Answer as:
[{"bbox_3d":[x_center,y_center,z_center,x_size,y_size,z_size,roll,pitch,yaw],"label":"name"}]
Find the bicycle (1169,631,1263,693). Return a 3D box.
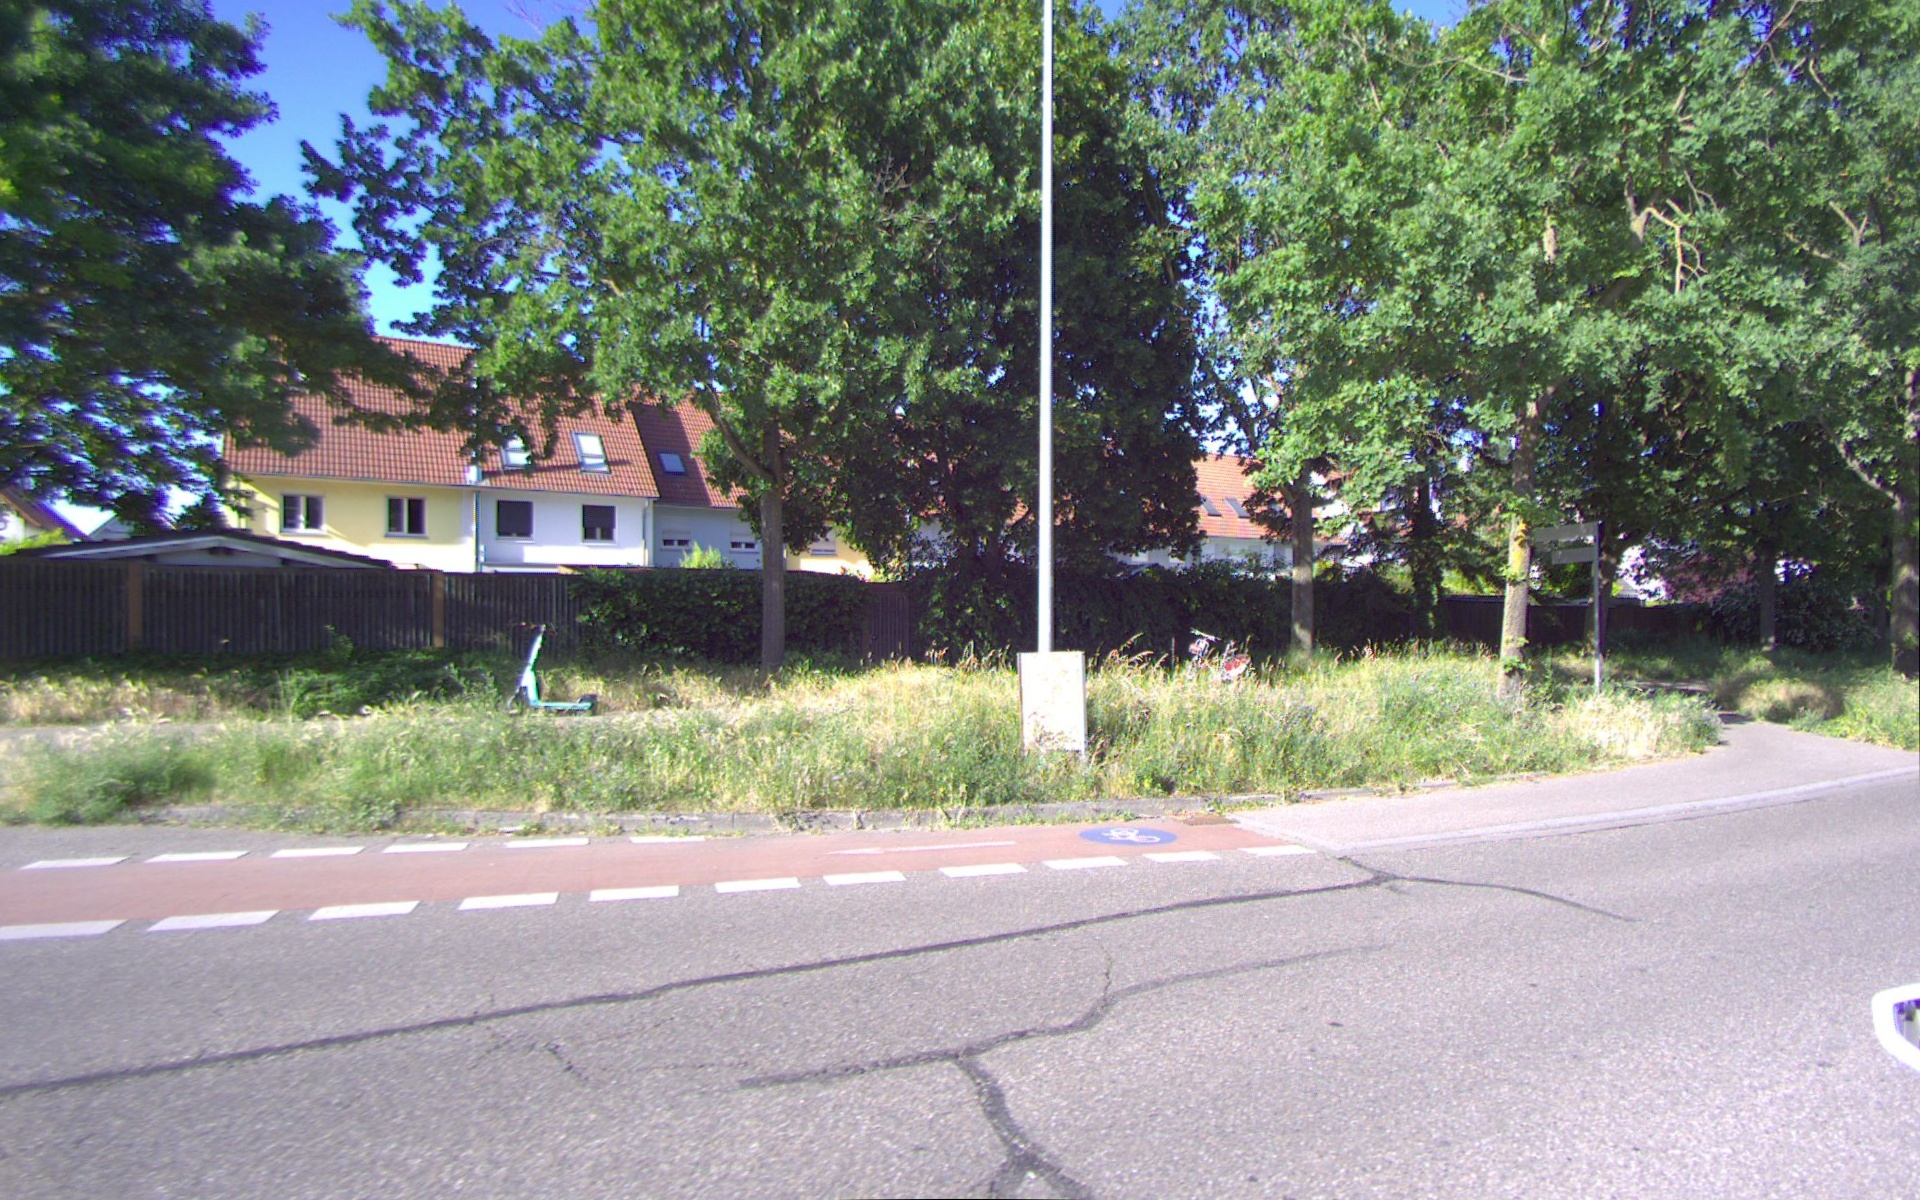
[{"bbox_3d":[4.650,1.112,18.193,1.858,1.067,0.503,1,-1,-31],"label":"bicycle"}]

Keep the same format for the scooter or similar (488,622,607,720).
[{"bbox_3d":[-5.462,0.919,13.370,1.390,1.235,0.539,0,2,-15],"label":"scooter or similar"}]
